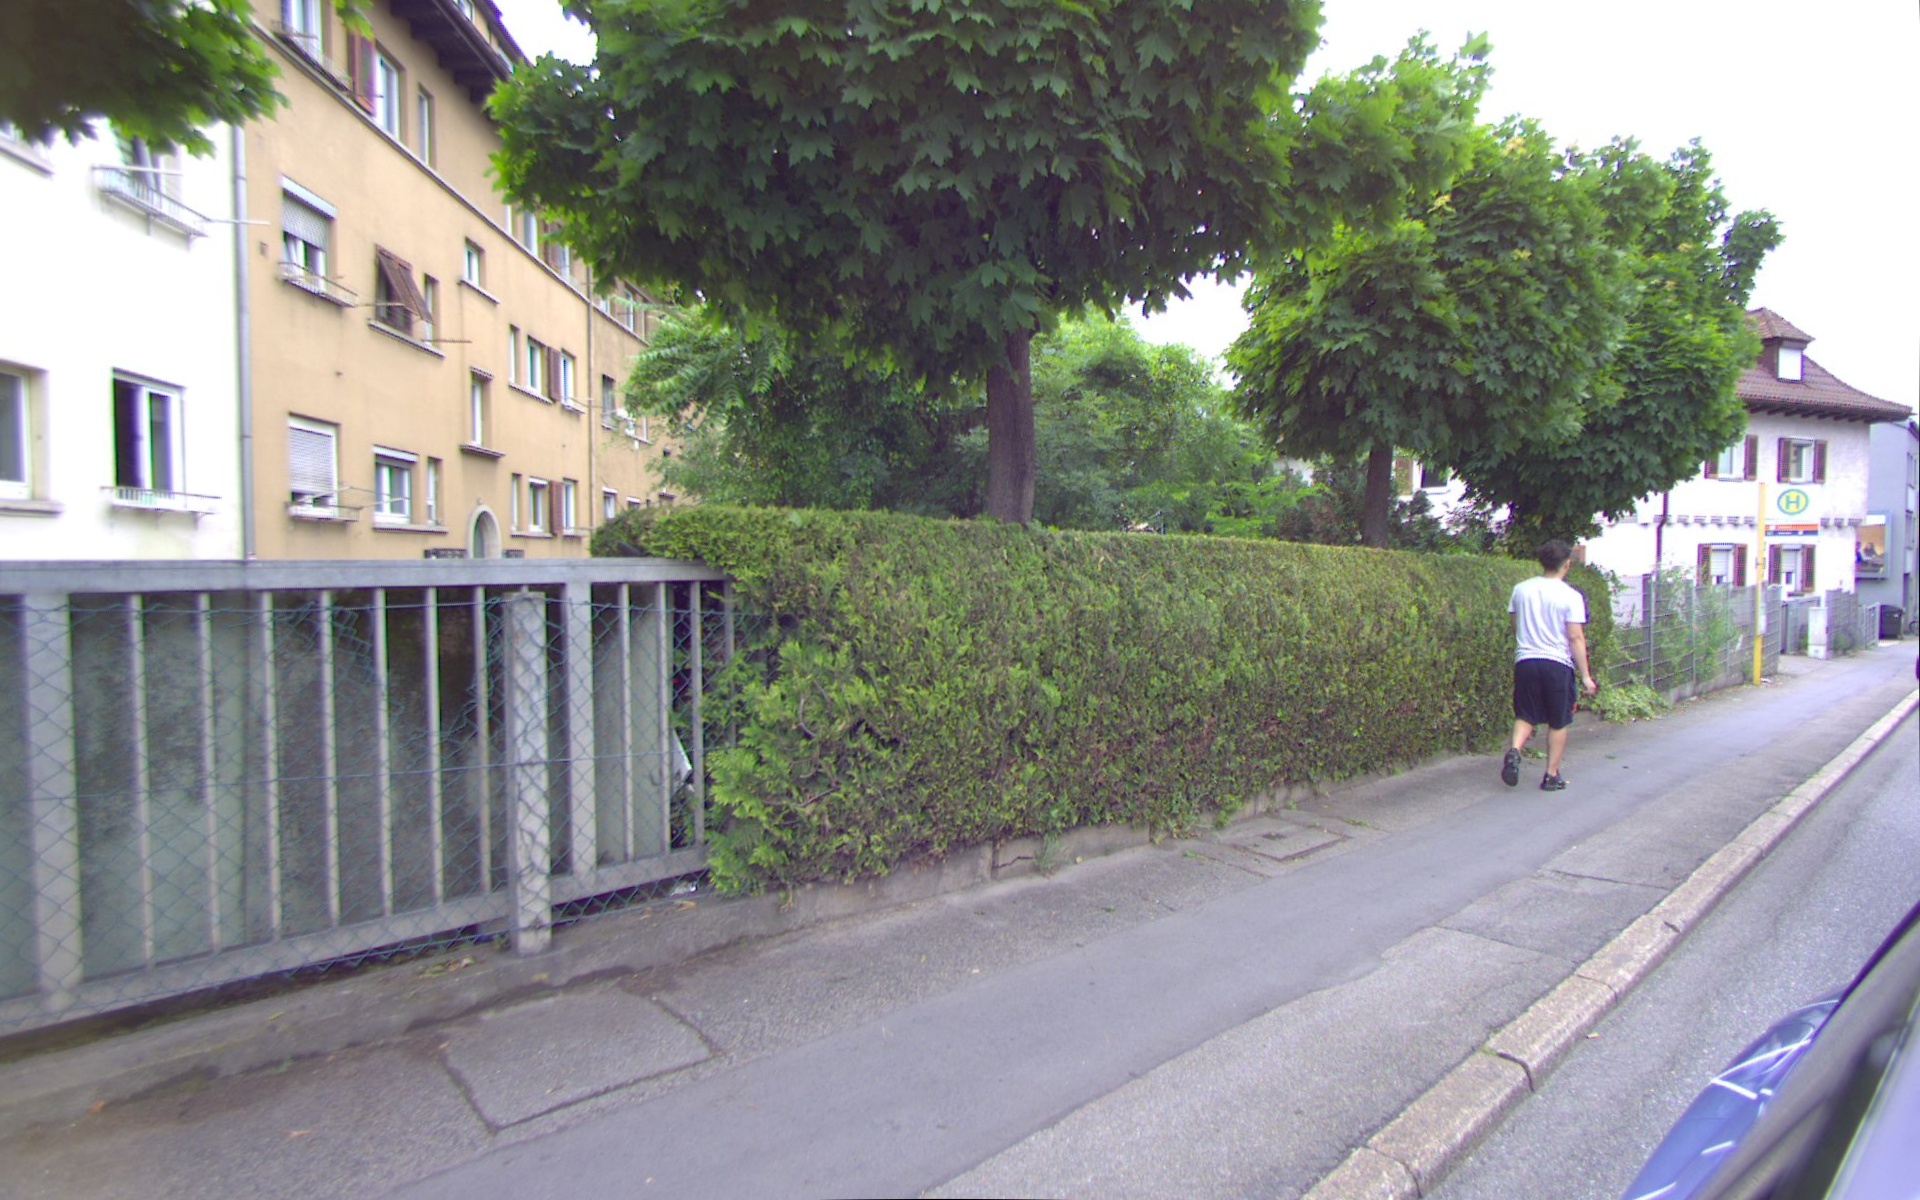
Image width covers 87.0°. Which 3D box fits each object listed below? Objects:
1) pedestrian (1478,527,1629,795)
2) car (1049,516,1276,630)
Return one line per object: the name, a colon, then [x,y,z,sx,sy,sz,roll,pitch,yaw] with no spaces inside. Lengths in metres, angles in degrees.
pedestrian: [4.150,0.389,7.094,0.459,1.758,0.695,0,4,-42]
car: [3.828,-0.520,19.696,3.923,2.039,2.001,1,1,-1]
